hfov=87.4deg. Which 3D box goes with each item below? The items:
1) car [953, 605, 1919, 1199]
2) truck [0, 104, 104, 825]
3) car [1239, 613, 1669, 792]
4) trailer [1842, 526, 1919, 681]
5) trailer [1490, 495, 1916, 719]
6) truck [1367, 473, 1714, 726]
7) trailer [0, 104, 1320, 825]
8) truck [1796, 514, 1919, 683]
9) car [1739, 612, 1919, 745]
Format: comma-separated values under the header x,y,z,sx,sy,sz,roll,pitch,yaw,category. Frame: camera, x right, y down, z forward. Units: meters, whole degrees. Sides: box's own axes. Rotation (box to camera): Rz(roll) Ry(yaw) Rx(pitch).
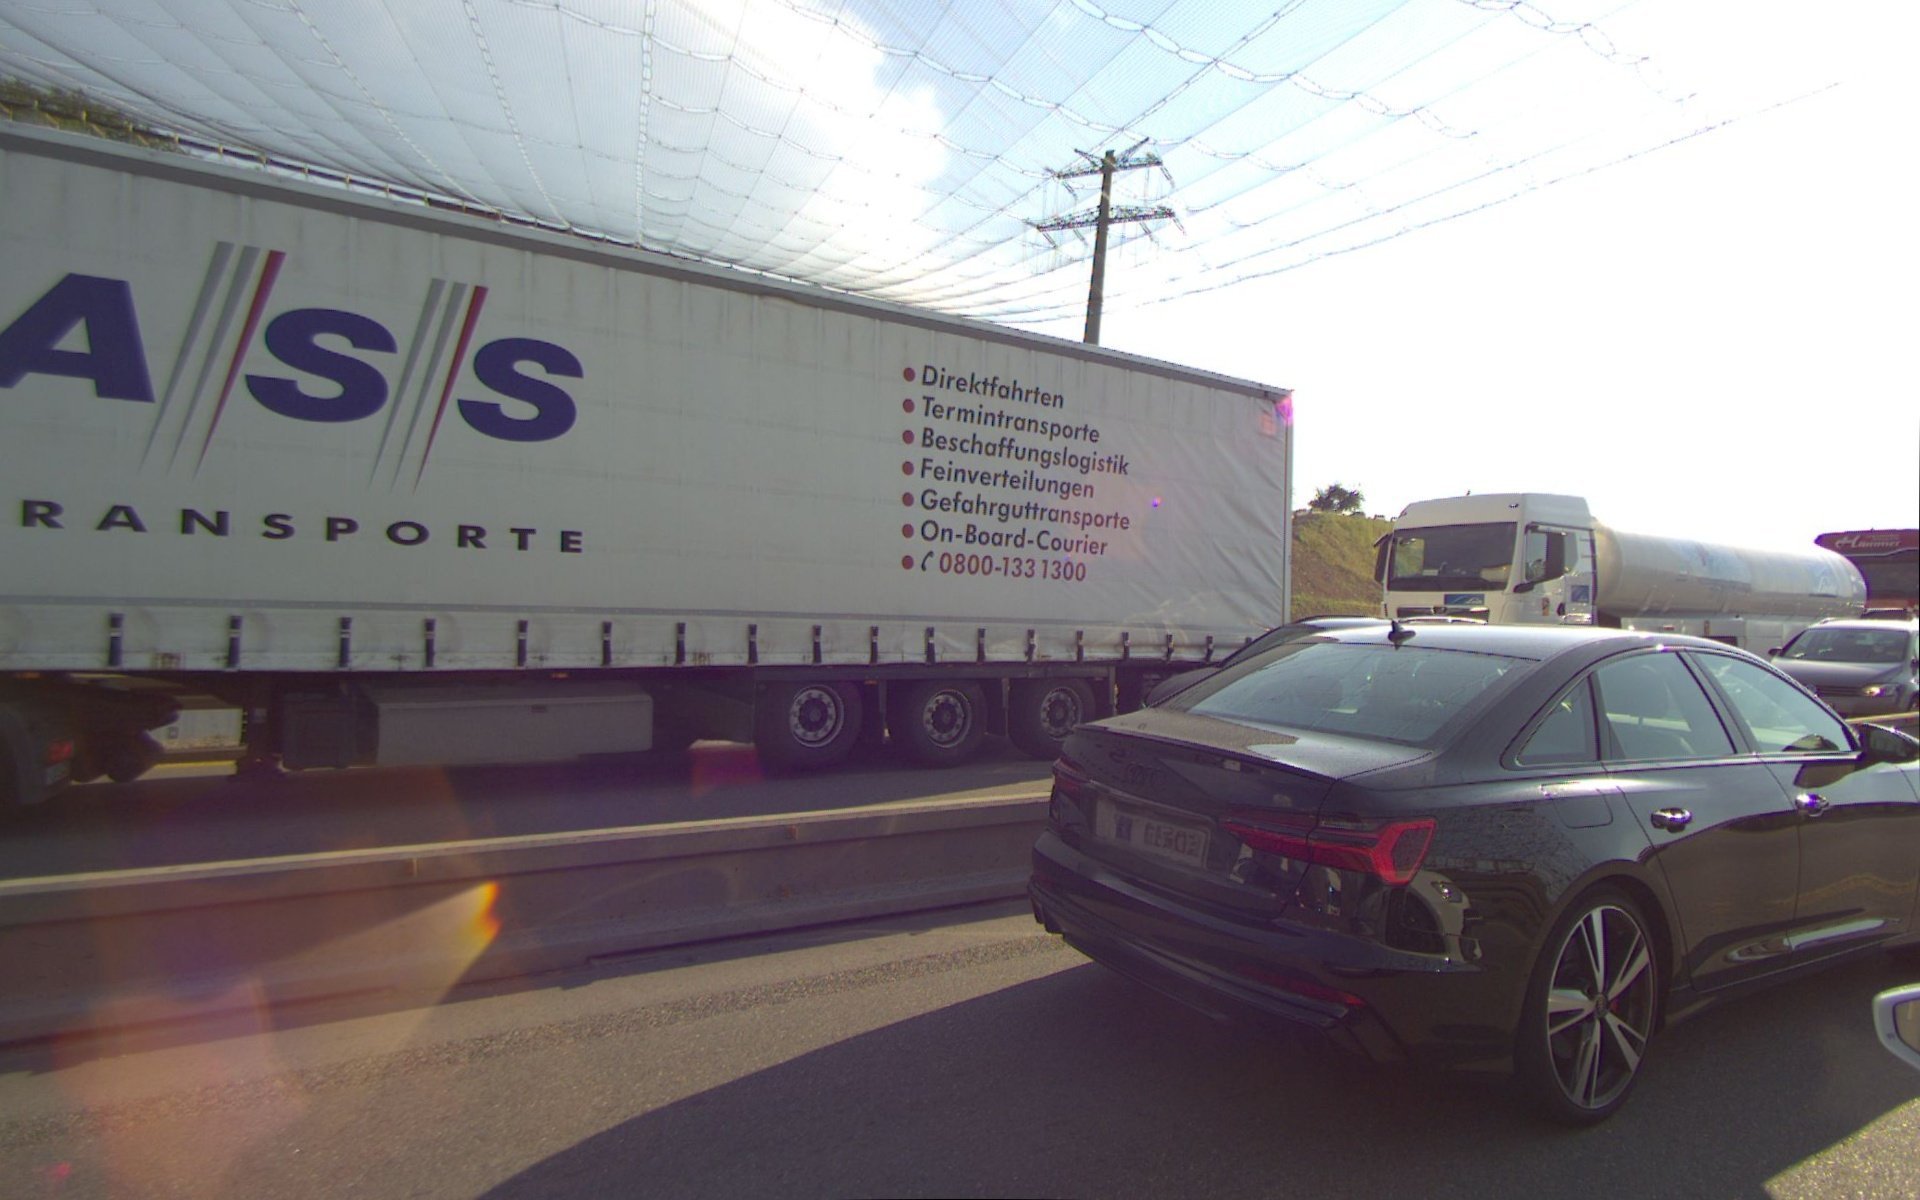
x,y,z,sx,sy,sz,roll,pitch,yaw,category
2.572,0.796,4.366,4.902,1.417,1.925,1,0,-30,car
-8.405,-0.817,5.229,5.554,4.099,2.461,2,0,-31,truck
4.968,0.906,9.988,4.193,1.416,1.785,2,0,-30,car
28.605,0.247,28.465,11.924,3.840,2.293,2,0,-33,trailer
14.789,0.273,19.376,11.917,3.406,2.295,2,0,-32,trailer
9.331,0.067,16.023,5.554,3.415,2.401,2,0,-32,truck
-2.494,-0.638,8.806,13.940,4.016,2.415,2,0,-32,trailer
23.512,0.040,25.169,5.559,3.835,2.417,2,0,-34,truck
12.876,1.032,14.236,3.901,1.608,1.740,2,0,-34,car
